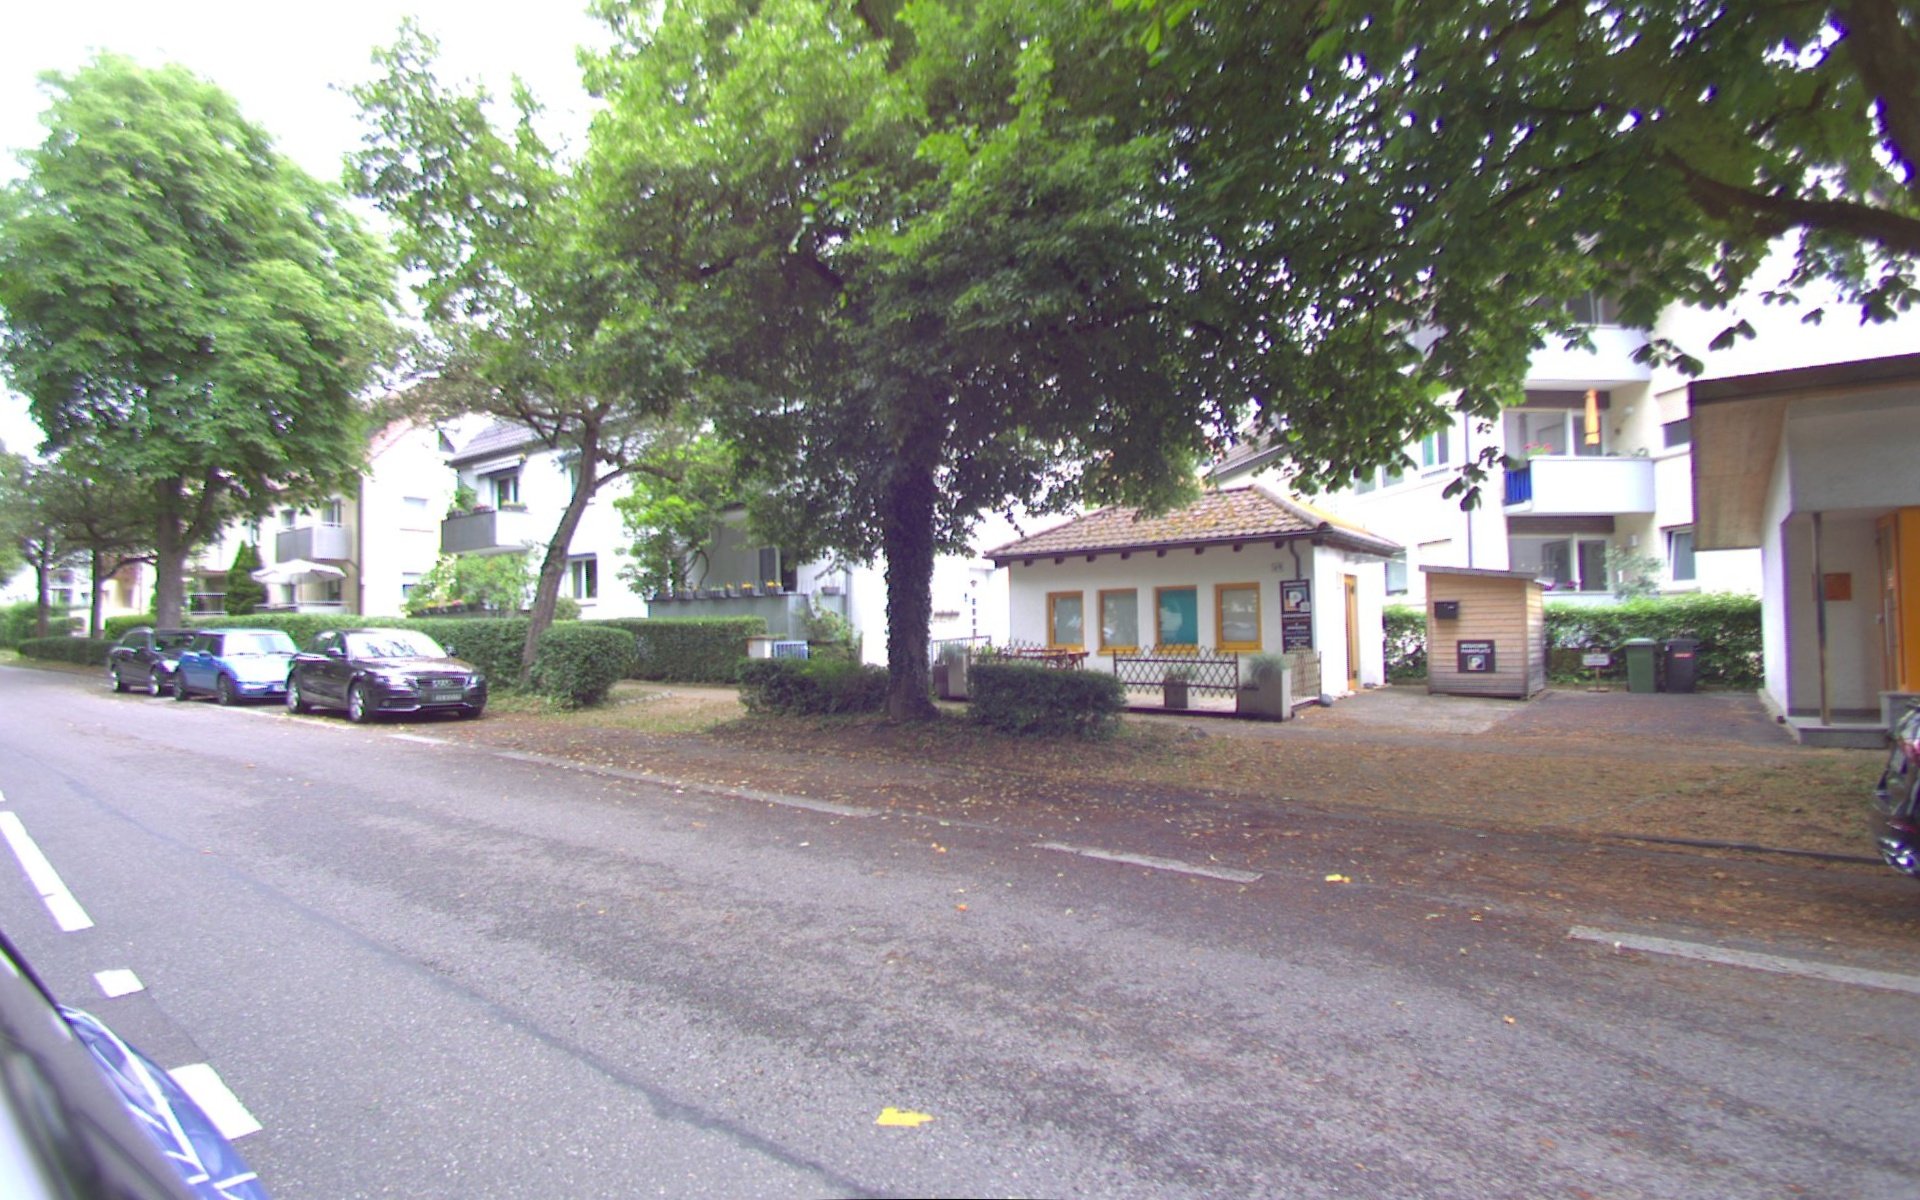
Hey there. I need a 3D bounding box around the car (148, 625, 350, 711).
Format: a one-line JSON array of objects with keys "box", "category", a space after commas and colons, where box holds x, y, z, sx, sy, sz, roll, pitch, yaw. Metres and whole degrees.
[{"box": [-14.025, 1.282, 19.887, 4.557, 1.512, 1.866, -2, -3, 36], "category": "car"}]

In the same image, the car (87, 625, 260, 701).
[{"box": [-17.772, 1.366, 22.803, 4.557, 1.545, 1.866, -2, -3, 36], "category": "car"}]

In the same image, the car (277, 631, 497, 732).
[{"box": [-9.257, 1.214, 16.216, 4.168, 1.414, 1.713, -2, -3, 40], "category": "car"}]
